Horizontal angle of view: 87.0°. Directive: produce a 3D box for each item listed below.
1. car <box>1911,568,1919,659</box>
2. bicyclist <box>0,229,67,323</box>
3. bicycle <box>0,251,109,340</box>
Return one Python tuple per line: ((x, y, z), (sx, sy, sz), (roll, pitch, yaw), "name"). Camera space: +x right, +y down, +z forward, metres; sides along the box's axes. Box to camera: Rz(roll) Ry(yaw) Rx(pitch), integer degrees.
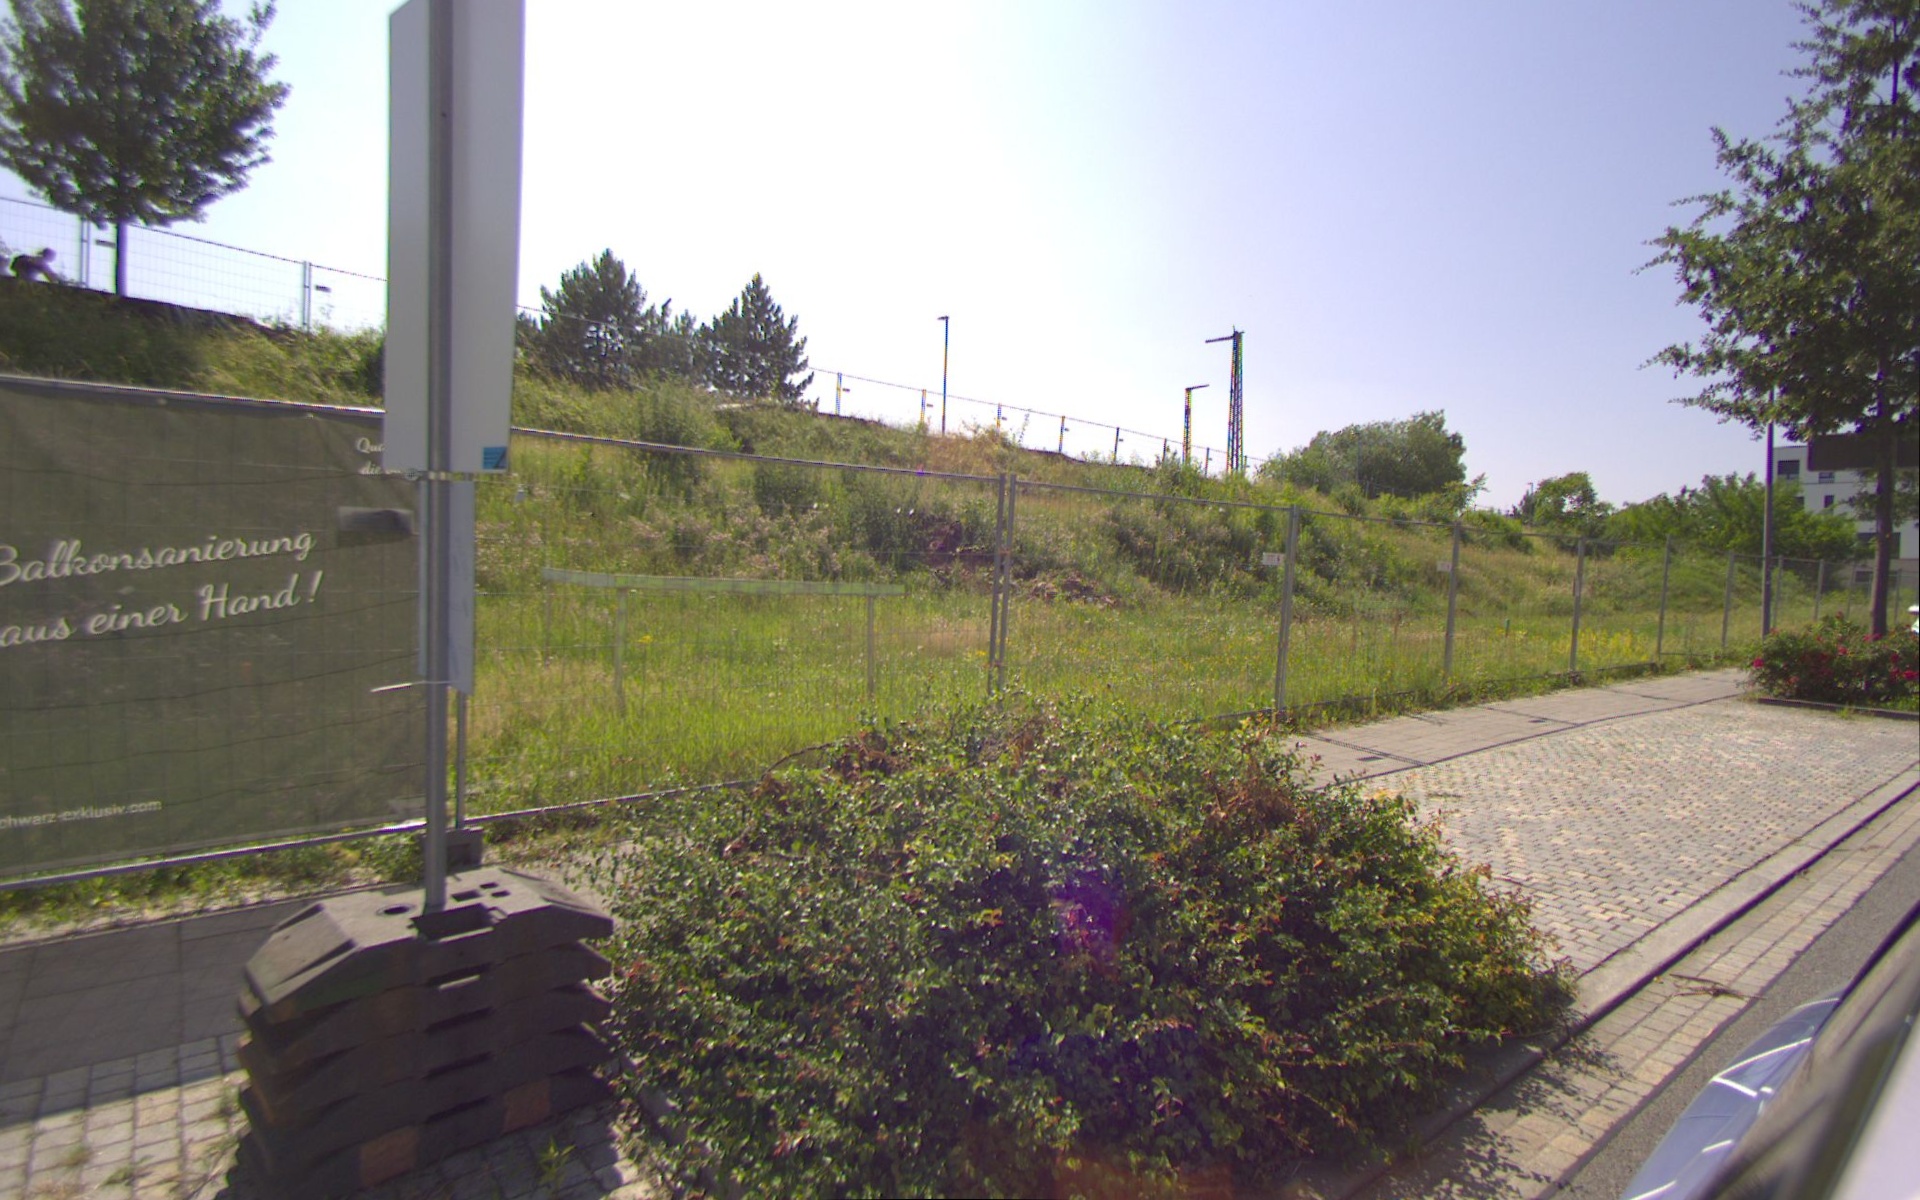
((19.417, 0.321, 18.861), (4.292, 1.635, 1.848), (0, 4, -40), "car")
((-18.110, -6.272, 19.645), (0.949, 1.405, 1.047), (0, 1, 42), "bicyclist")
((-18.034, -5.943, 19.694), (0.933, 1.228, 2.142), (0, 1, 42), "bicycle")
